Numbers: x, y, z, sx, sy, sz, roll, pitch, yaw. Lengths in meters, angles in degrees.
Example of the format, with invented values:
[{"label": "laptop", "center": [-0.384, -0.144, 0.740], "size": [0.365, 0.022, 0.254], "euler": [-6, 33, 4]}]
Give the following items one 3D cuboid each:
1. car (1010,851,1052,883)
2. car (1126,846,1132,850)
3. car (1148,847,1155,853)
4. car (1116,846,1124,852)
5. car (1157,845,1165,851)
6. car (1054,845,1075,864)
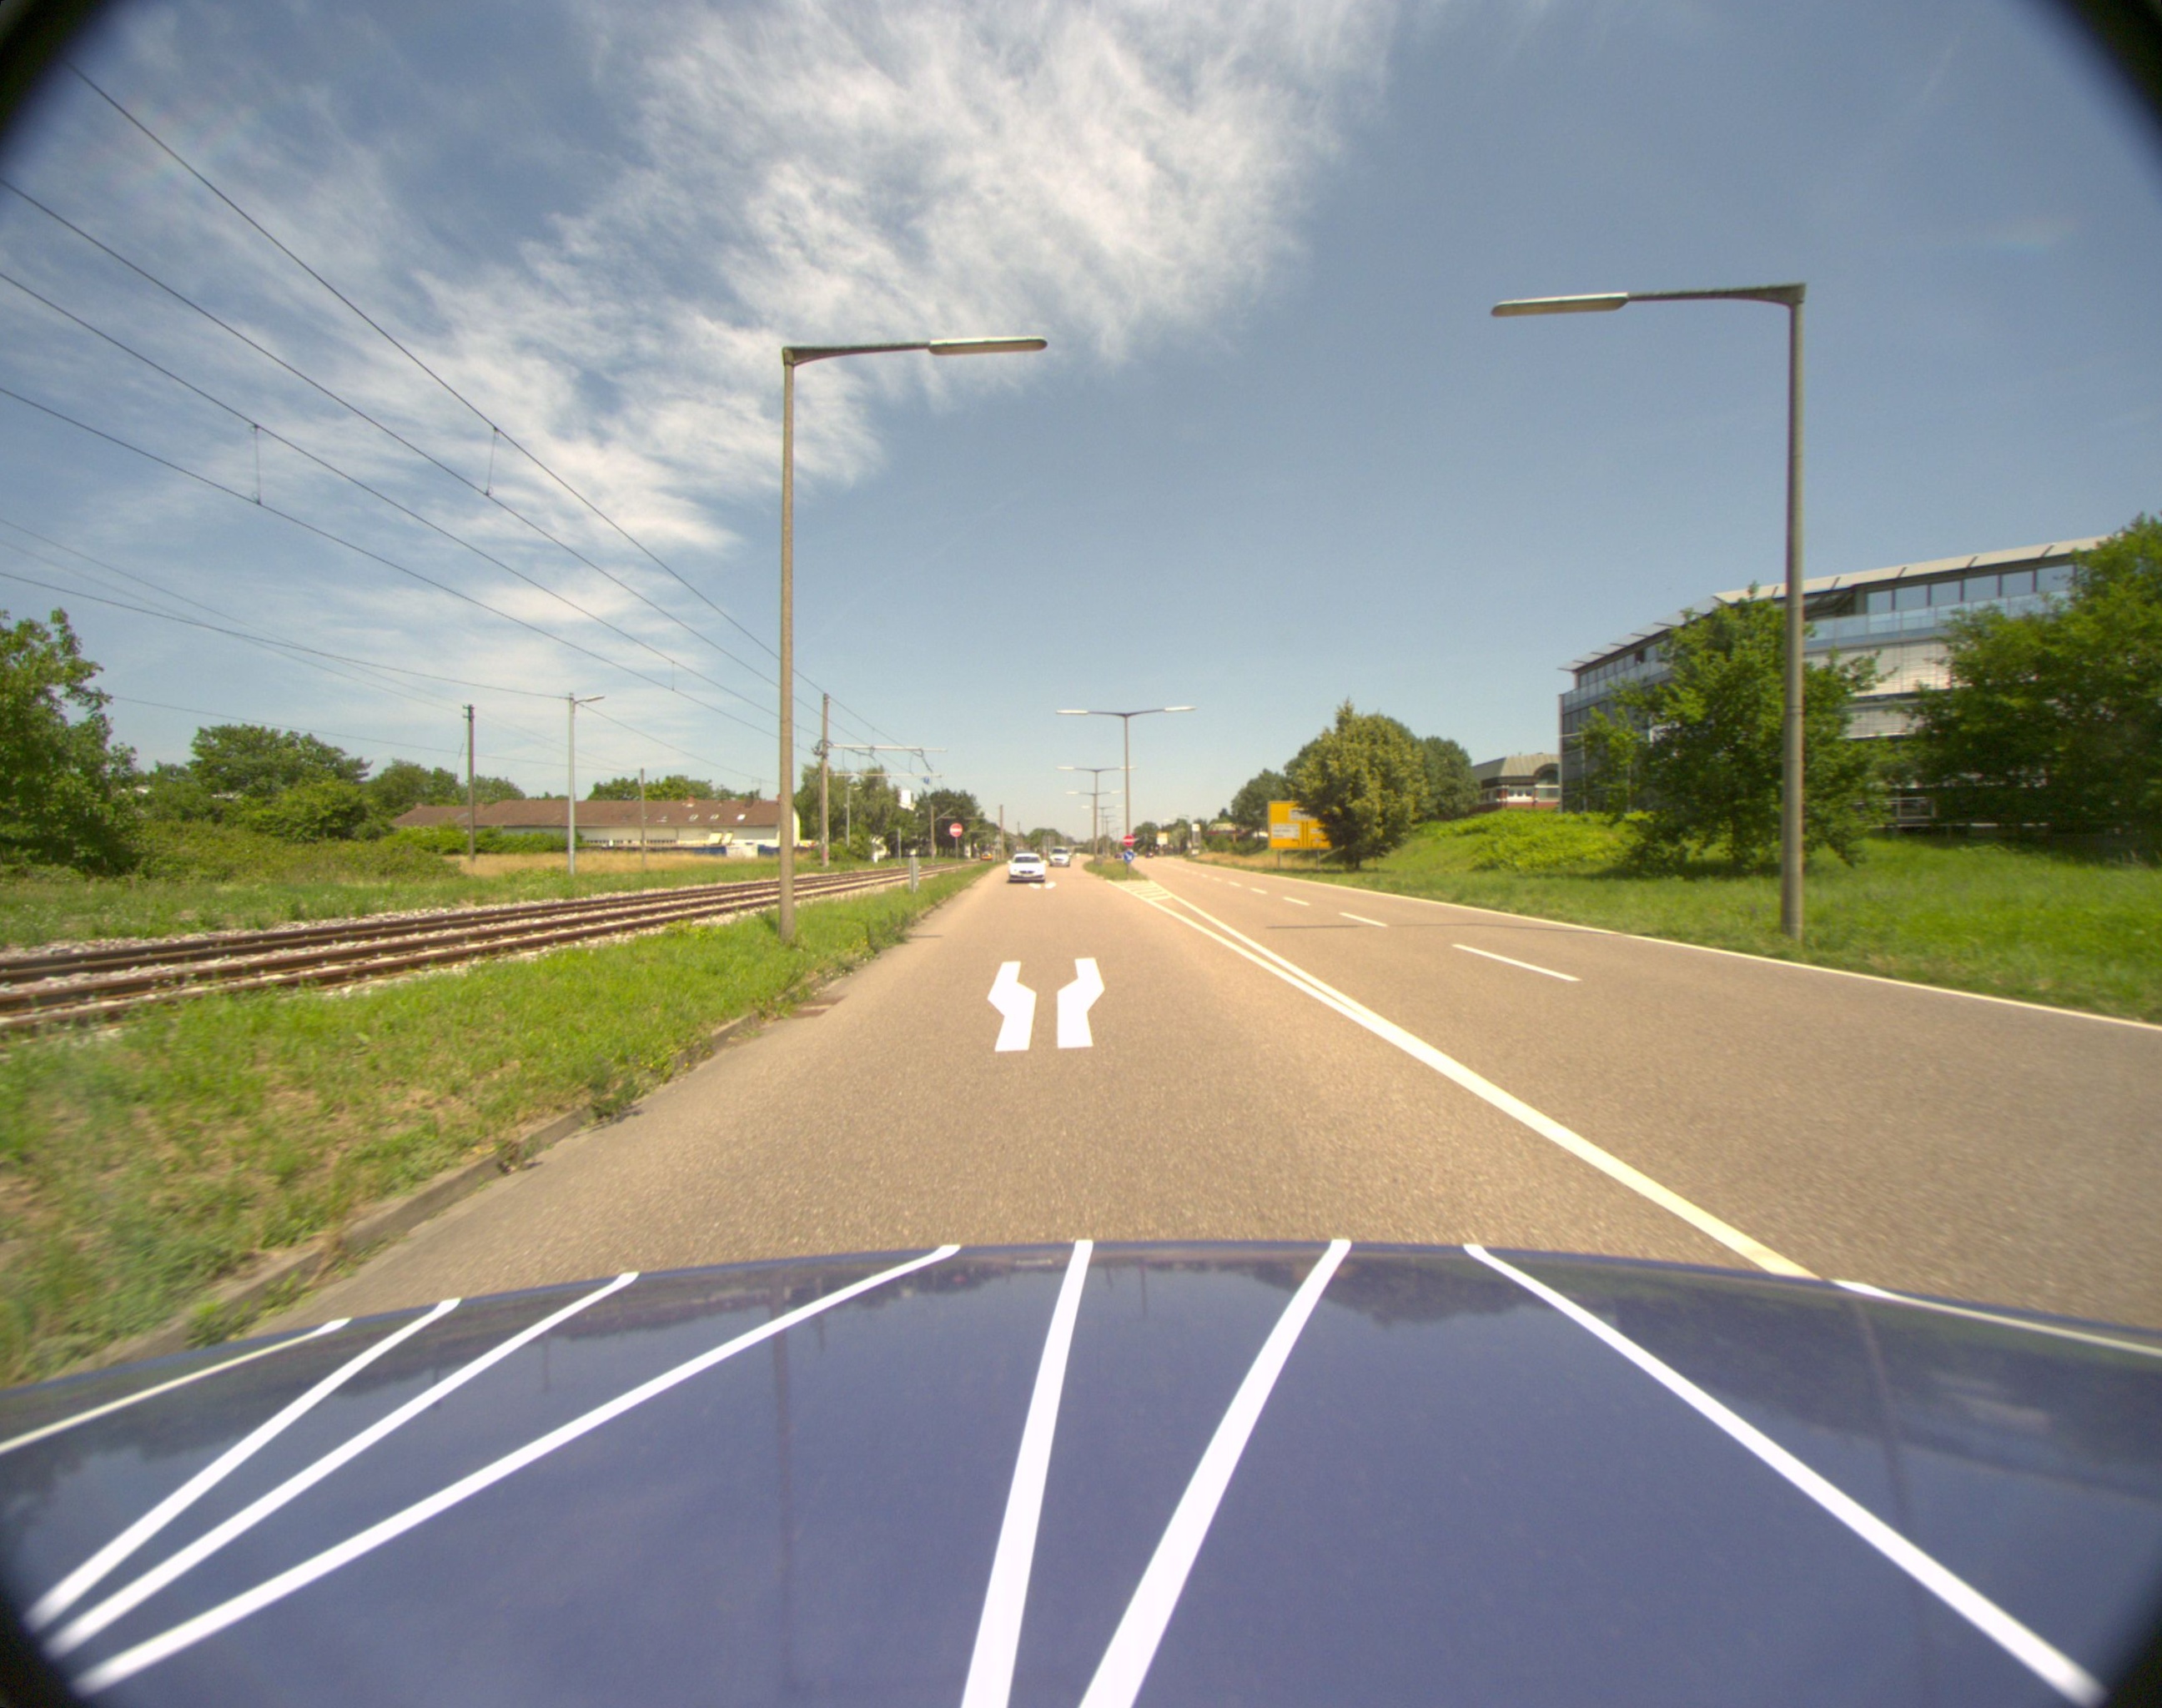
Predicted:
[{"label": "car", "center": [-2.512, 0.637, 39.090], "size": [1.771, 1.434, 4.128], "euler": [0, 2, 2]}, {"label": "car", "center": [14.664, -1.859, 233.662], "size": [1.619, 1.387, 3.599], "euler": [-1, 2, -2]}, {"label": "car", "center": [17.026, -0.966, 183.811], "size": [1.621, 1.346, 3.515], "euler": [0, 2, 4]}, {"label": "car", "center": [9.617, -1.344, 188.584], "size": [1.619, 1.387, 3.599], "euler": [-1, 2, -2]}, {"label": "car", "center": [20.987, -1.513, 199.055], "size": [1.653, 1.577, 3.818], "euler": [0, 2, 0]}, {"label": "car", "center": [-1.555, 0.028, 72.909], "size": [1.883, 1.687, 3.787], "euler": [0, 2, -1]}]
